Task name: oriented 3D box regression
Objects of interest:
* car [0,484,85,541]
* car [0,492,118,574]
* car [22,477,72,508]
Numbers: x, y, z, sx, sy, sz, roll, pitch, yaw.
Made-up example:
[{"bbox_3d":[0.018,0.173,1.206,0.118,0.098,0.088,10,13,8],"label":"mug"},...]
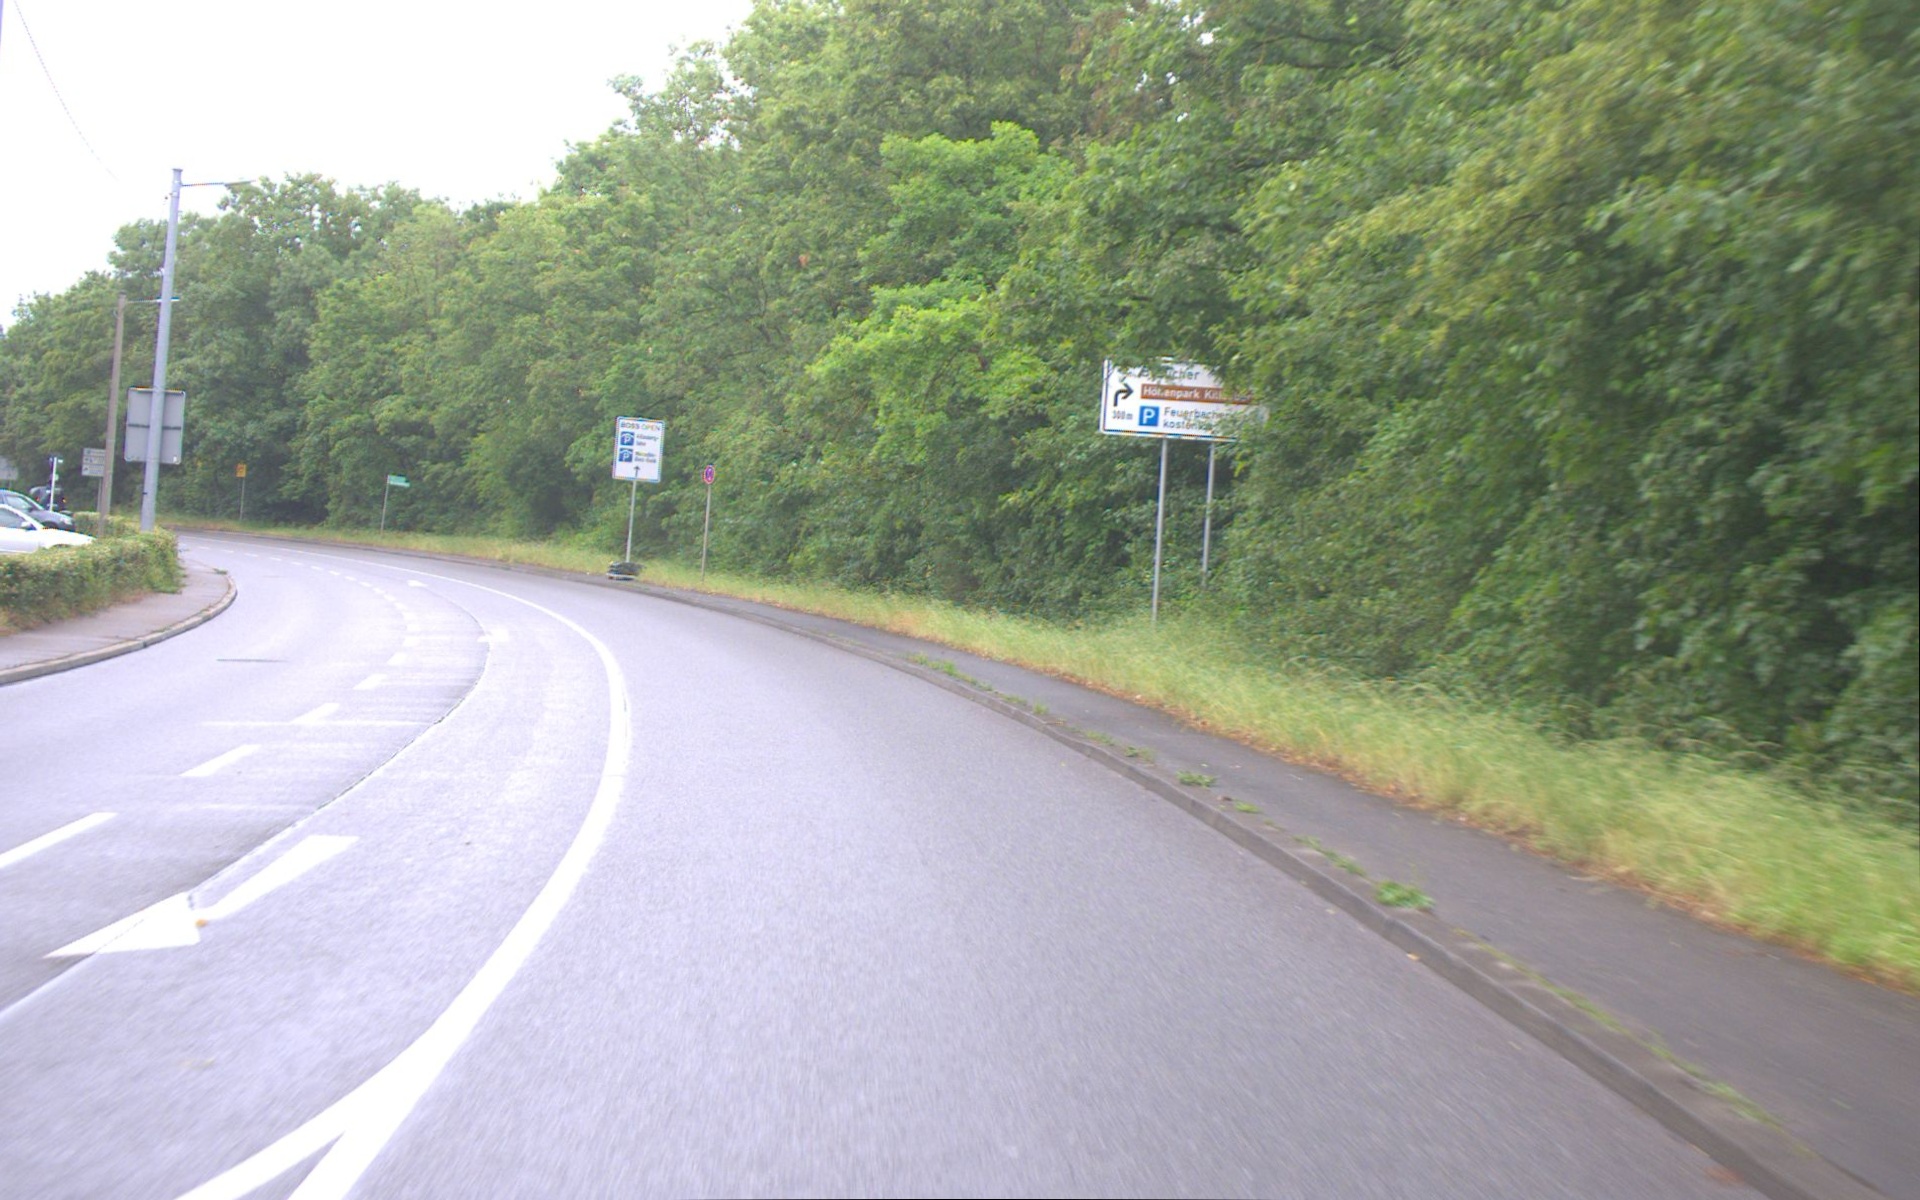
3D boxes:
[{"bbox_3d":[-30.910,-2.914,112.620,4.289,1.702,2.001,3,1,-14],"label":"car"},{"bbox_3d":[-19.041,-1.386,67.803,4.573,1.501,2.001,2,1,-17],"label":"car"},{"bbox_3d":[-48.127,-5.683,181.161,1.934,1.493,4.319,2,1,-22],"label":"car"}]
